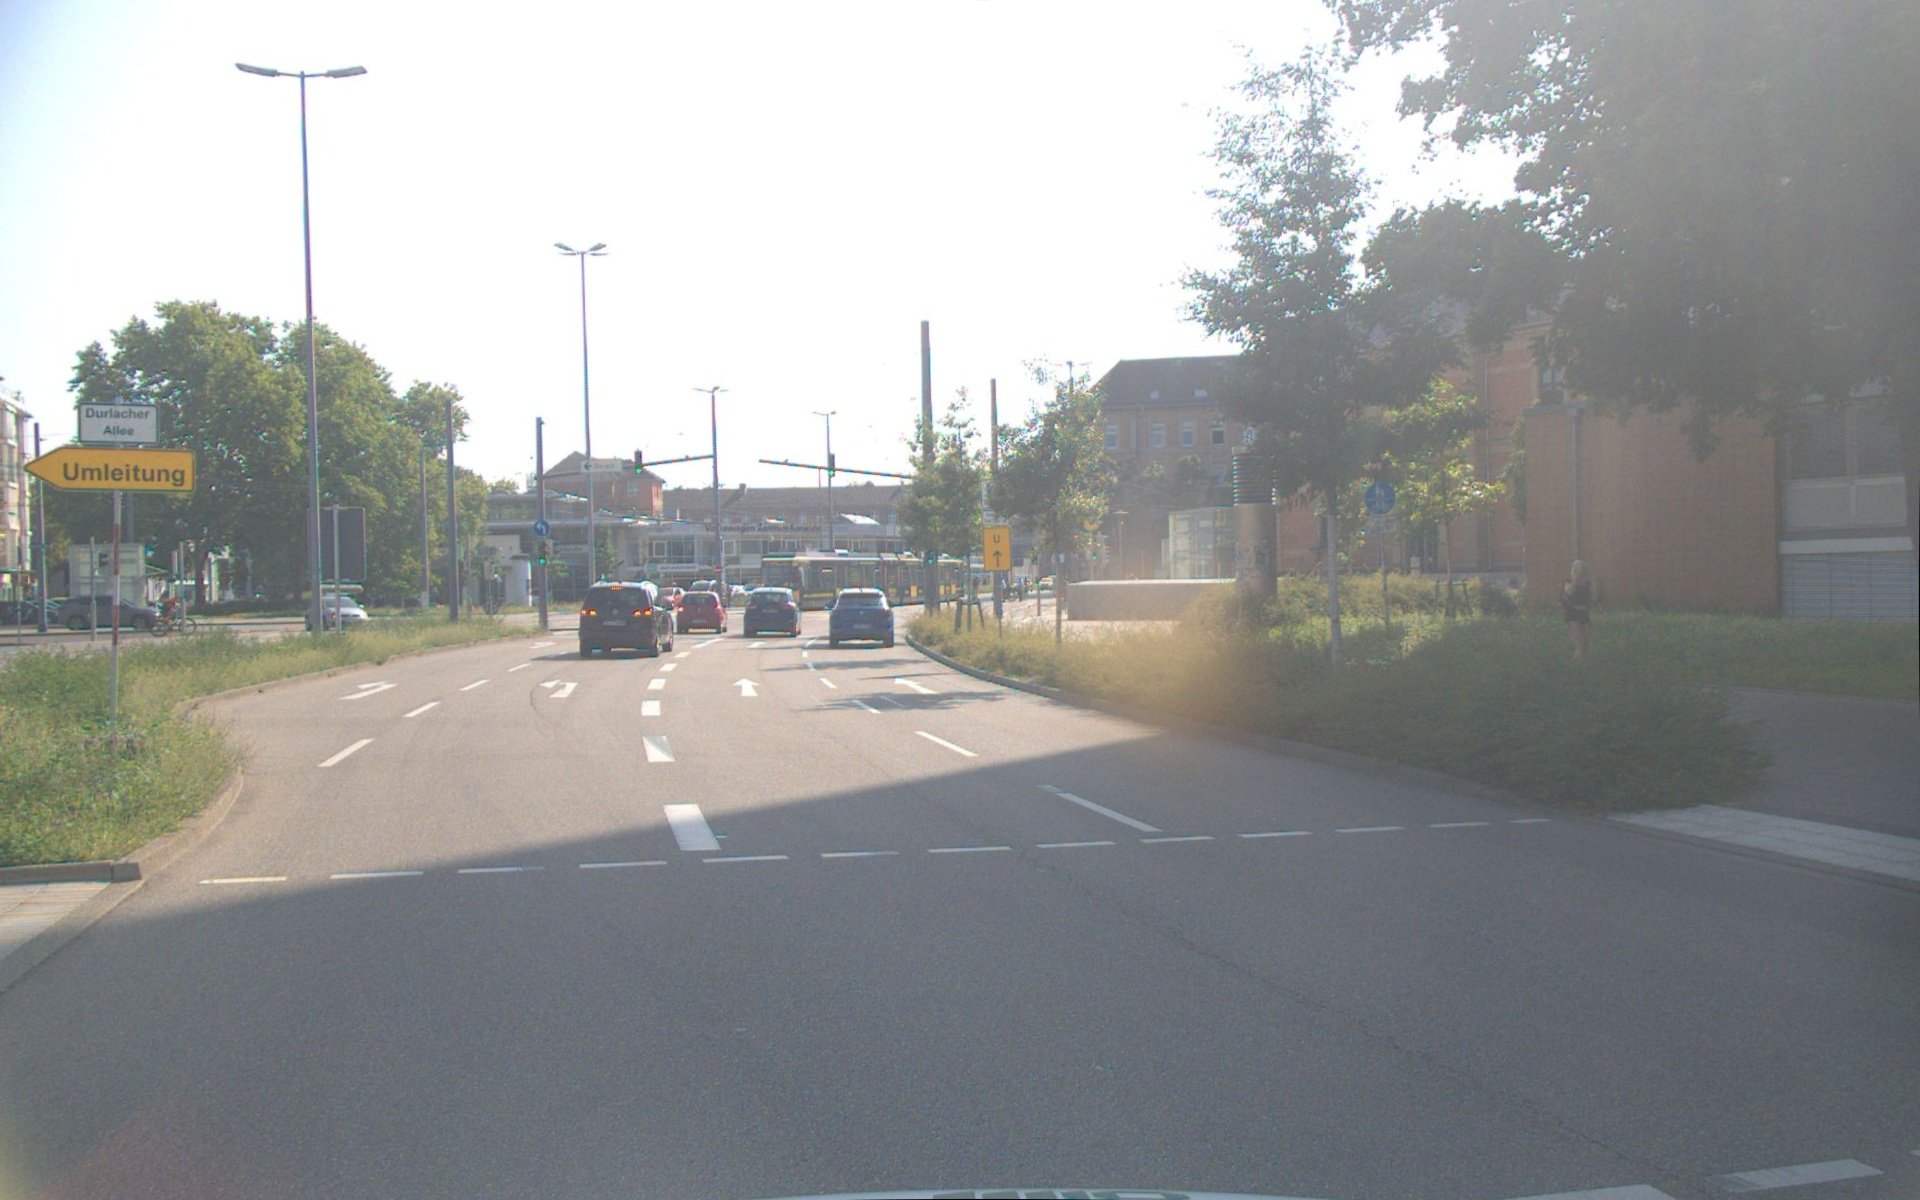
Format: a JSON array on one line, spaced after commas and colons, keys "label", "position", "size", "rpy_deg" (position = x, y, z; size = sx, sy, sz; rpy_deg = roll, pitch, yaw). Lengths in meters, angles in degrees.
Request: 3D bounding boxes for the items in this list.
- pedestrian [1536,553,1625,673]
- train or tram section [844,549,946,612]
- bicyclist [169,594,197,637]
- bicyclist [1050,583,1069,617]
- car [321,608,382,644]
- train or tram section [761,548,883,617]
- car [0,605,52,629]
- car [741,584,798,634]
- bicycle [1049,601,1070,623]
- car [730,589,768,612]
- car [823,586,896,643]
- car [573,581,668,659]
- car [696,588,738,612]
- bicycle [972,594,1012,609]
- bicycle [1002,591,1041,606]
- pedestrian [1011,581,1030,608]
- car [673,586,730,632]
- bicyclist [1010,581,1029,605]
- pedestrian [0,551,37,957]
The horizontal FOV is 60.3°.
[{"label": "pedestrian", "position": [7.865, 0.156, 20.986], "size": [0.711, 1.468, 0.856], "rpy_deg": [-1, 0, -8]}, {"label": "train or tram section", "position": [-4.031, -1.316, 105.890], "size": [2.651, 3.763, 10.593], "rpy_deg": [-1, 1, 20]}, {"label": "bicyclist", "position": [-30.631, 0.601, 65.199], "size": [0.867, 1.681, 0.723], "rpy_deg": [-1, 0, -16]}, {"label": "bicyclist", "position": [4.692, 0.000, 77.826], "size": [0.704, 1.539, 1.005], "rpy_deg": [-1, 0, 12]}, {"label": "car", "position": [-26.407, 1.108, 71.680], "size": [1.795, 1.458, 4.181], "rpy_deg": [-2, 0, -30]}, {"label": "train or tram section", "position": [-7.854, -1.065, 95.960], "size": [2.600, 3.763, 10.590], "rpy_deg": [-1, 1, 21]}, {"label": "car", "position": [-56.474, 1.003, 98.421], "size": [4.101, 1.378, 1.471], "rpy_deg": [-1, 0, -24]}, {"label": "car", "position": [-6.427, 0.260, 55.853], "size": [1.790, 1.562, 4.406], "rpy_deg": [-2, 1, -6]}, {"label": "bicycle", "position": [4.693, 0.549, 77.786], "size": [0.704, 0.976, 1.923], "rpy_deg": [-1, 0, 12]}, {"label": "car", "position": [-15.302, 0.018, 120.146], "size": [1.580, 1.501, 4.004], "rpy_deg": [-3, 0, 10]}, {"label": "car", "position": [-2.851, 0.362, 46.023], "size": [1.790, 1.453, 4.406], "rpy_deg": [-2, 1, -6]}, {"label": "car", "position": [-8.145, 0.431, 39.964], "size": [1.790, 1.744, 4.406], "rpy_deg": [-2, 1, -6]}, {"label": "car", "position": [-16.632, -0.008, 113.560], "size": [1.580, 1.501, 4.004], "rpy_deg": [-3, 0, 10]}, {"label": "bicycle", "position": [2.262, 0.103, 116.132], "size": [2.589, 0.981, 1.083], "rpy_deg": [-2, 1, -29]}, {"label": "bicycle", "position": [4.396, -0.113, 117.887], "size": [2.589, 0.981, 1.083], "rpy_deg": [-2, 1, -29]}, {"label": "pedestrian", "position": [4.210, -0.371, 115.249], "size": [0.845, 1.828, 0.921], "rpy_deg": [-1, 1, 44]}, {"label": "car", "position": [-9.324, 0.299, 59.810], "size": [1.790, 1.562, 4.406], "rpy_deg": [-2, 1, -6]}, {"label": "bicyclist", "position": [4.224, -0.482, 117.785], "size": [0.923, 1.709, 1.083], "rpy_deg": [-1, 1, -28]}, {"label": "pedestrian", "position": [-4.379, 0.652, 6.766], "size": [0.653, 1.683, 0.779], "rpy_deg": [-1, 1, 20]}]
